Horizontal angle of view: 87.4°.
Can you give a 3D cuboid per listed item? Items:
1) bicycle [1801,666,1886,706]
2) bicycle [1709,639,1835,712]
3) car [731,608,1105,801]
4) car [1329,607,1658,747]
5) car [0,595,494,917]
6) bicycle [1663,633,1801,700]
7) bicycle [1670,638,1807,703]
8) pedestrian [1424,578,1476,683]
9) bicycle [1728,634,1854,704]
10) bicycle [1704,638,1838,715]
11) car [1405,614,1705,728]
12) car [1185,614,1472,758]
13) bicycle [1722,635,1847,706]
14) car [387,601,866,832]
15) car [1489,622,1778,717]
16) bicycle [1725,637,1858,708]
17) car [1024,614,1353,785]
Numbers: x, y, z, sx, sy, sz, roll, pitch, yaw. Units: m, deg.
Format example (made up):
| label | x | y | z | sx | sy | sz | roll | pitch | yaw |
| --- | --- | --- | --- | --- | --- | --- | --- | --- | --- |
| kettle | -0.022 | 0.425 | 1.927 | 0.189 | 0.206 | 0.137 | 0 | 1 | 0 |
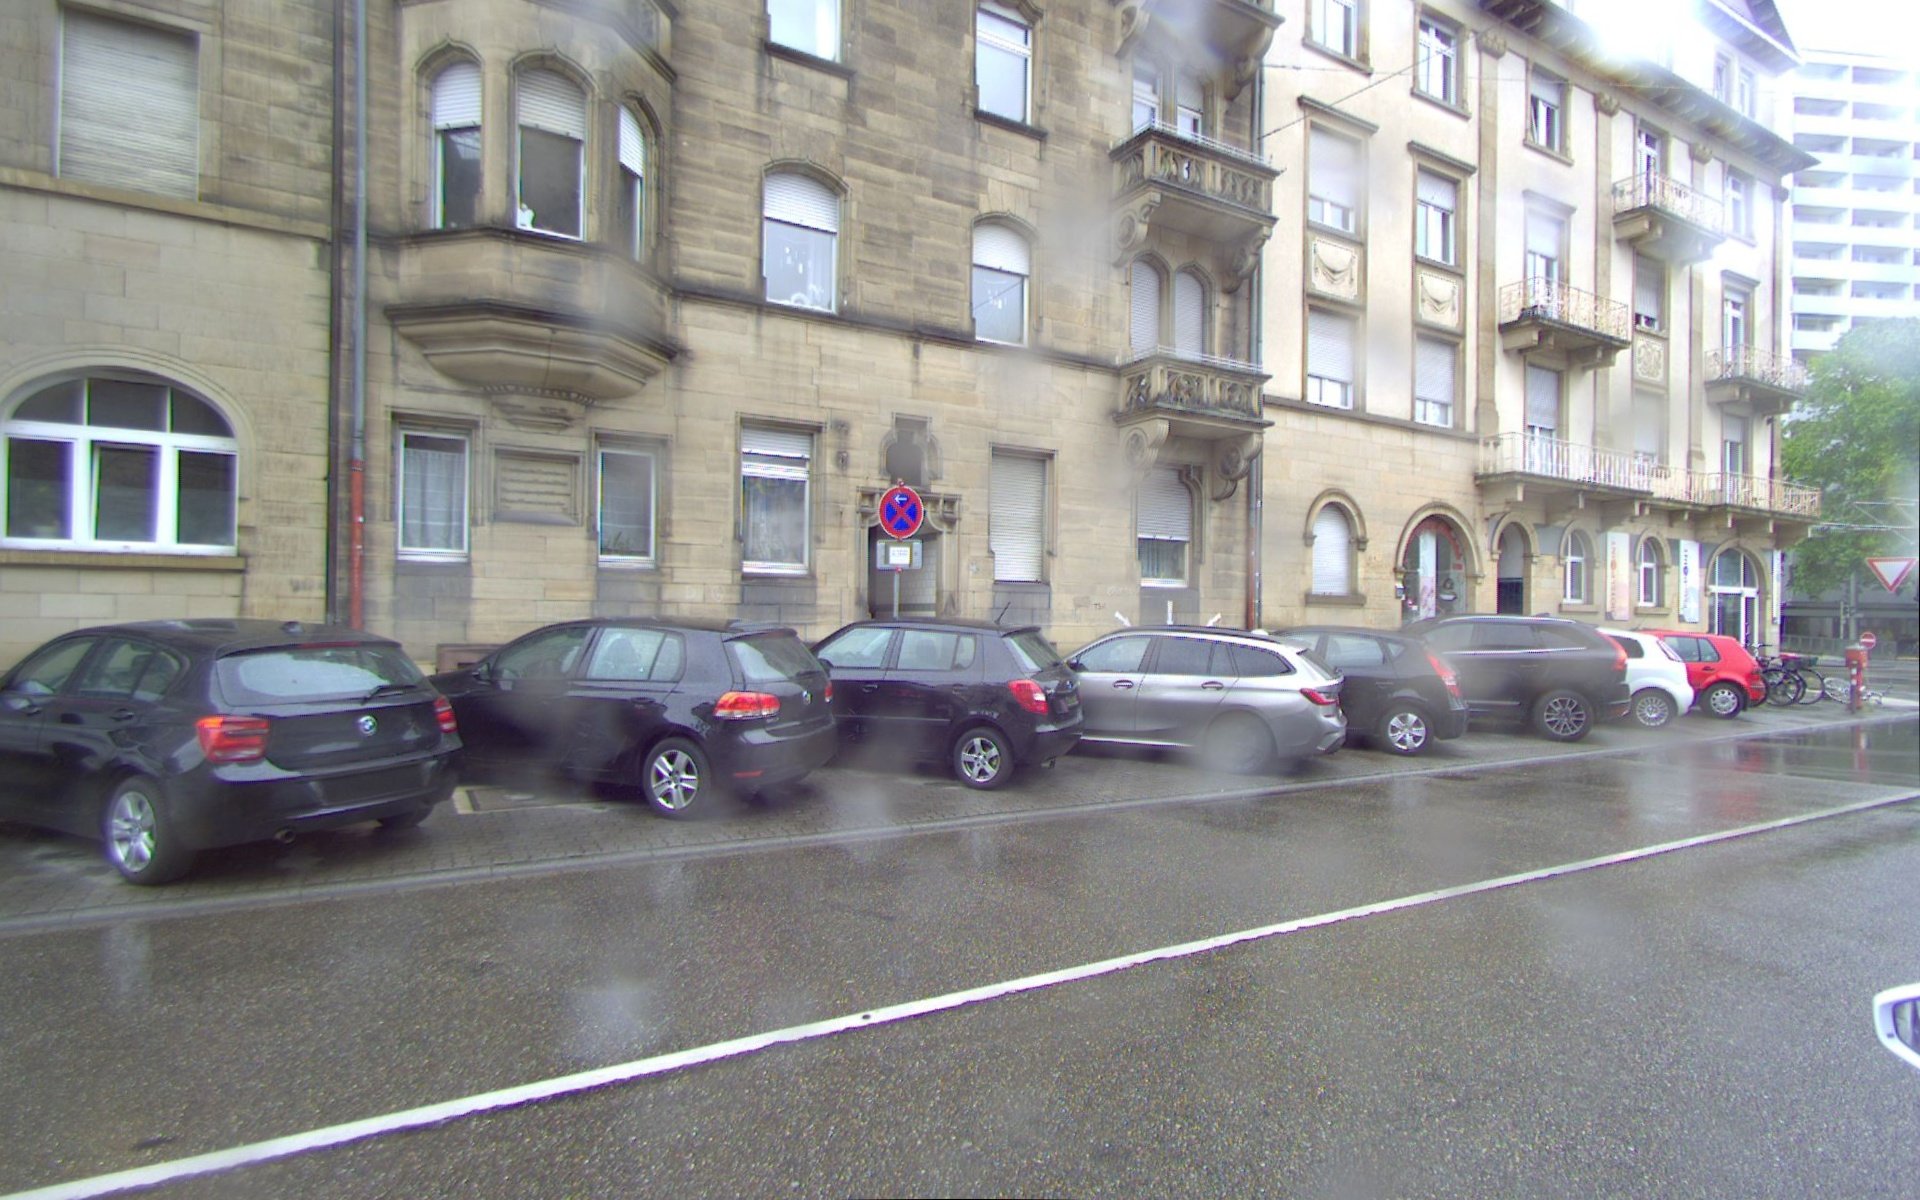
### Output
| label | x | y | z | sx | sy | sz | roll | pitch | yaw |
| --- | --- | --- | --- | --- | --- | --- | --- | --- | --- |
| bicycle | 18.485 | 1.779 | 21.068 | 1.024 | 0.672 | 1.476 | 3 | 0 | 29 |
| bicycle | 15.779 | 1.433 | 19.562 | 0.469 | 1.200 | 1.800 | 1 | 3 | -31 |
| car | -0.421 | 0.914 | 10.125 | 3.378 | 1.565 | 1.627 | 2 | 1 | 24 |
| car | 7.565 | 1.017 | 14.711 | 4.005 | 1.715 | 1.764 | 2 | 1 | 21 |
| car | -5.162 | 0.793 | 6.724 | 3.657 | 1.565 | 1.777 | 2 | 1 | 25 |
| bicycle | 16.822 | 1.415 | 21.956 | 0.634 | 1.364 | 2.326 | 1 | -1 | -34 |
| bicycle | 17.292 | 1.527 | 22.380 | 0.634 | 1.364 | 2.326 | 1 | -2 | -34 |
| pedestrian | 11.235 | 0.701 | 23.050 | 0.750 | 2.371 | 0.847 | 1 | -1 | -8 |
| bicycle | 17.006 | 1.386 | 20.614 | 0.432 | 1.347 | 1.969 | 1 | -1 | -27 |
| bicycle | 15.039 | 1.391 | 18.684 | 0.592 | 1.201 | 1.805 | 1 | 3 | -24 |
| car | 9.471 | 1.070 | 16.362 | 3.916 | 1.554 | 1.704 | 2 | 1 | 21 |
| car | 4.727 | 1.018 | 13.062 | 3.246 | 1.546 | 1.700 | 2 | 1 | 22 |
| bicycle | 16.218 | 1.365 | 19.803 | 0.463 | 1.200 | 1.800 | 1 | 2 | -31 |
| car | -2.835 | 0.838 | 8.621 | 3.685 | 1.565 | 1.628 | 2 | 1 | 20 |
| car | 11.915 | 1.190 | 18.046 | 3.919 | 1.528 | 1.805 | 1 | -1 | 13 |
| bicycle | 16.631 | 1.417 | 20.150 | 0.470 | 1.200 | 1.968 | 1 | 2 | -32 |
| car | 2.600 | 1.008 | 11.343 | 3.362 | 1.565 | 1.701 | 2 | 1 | 21 |
